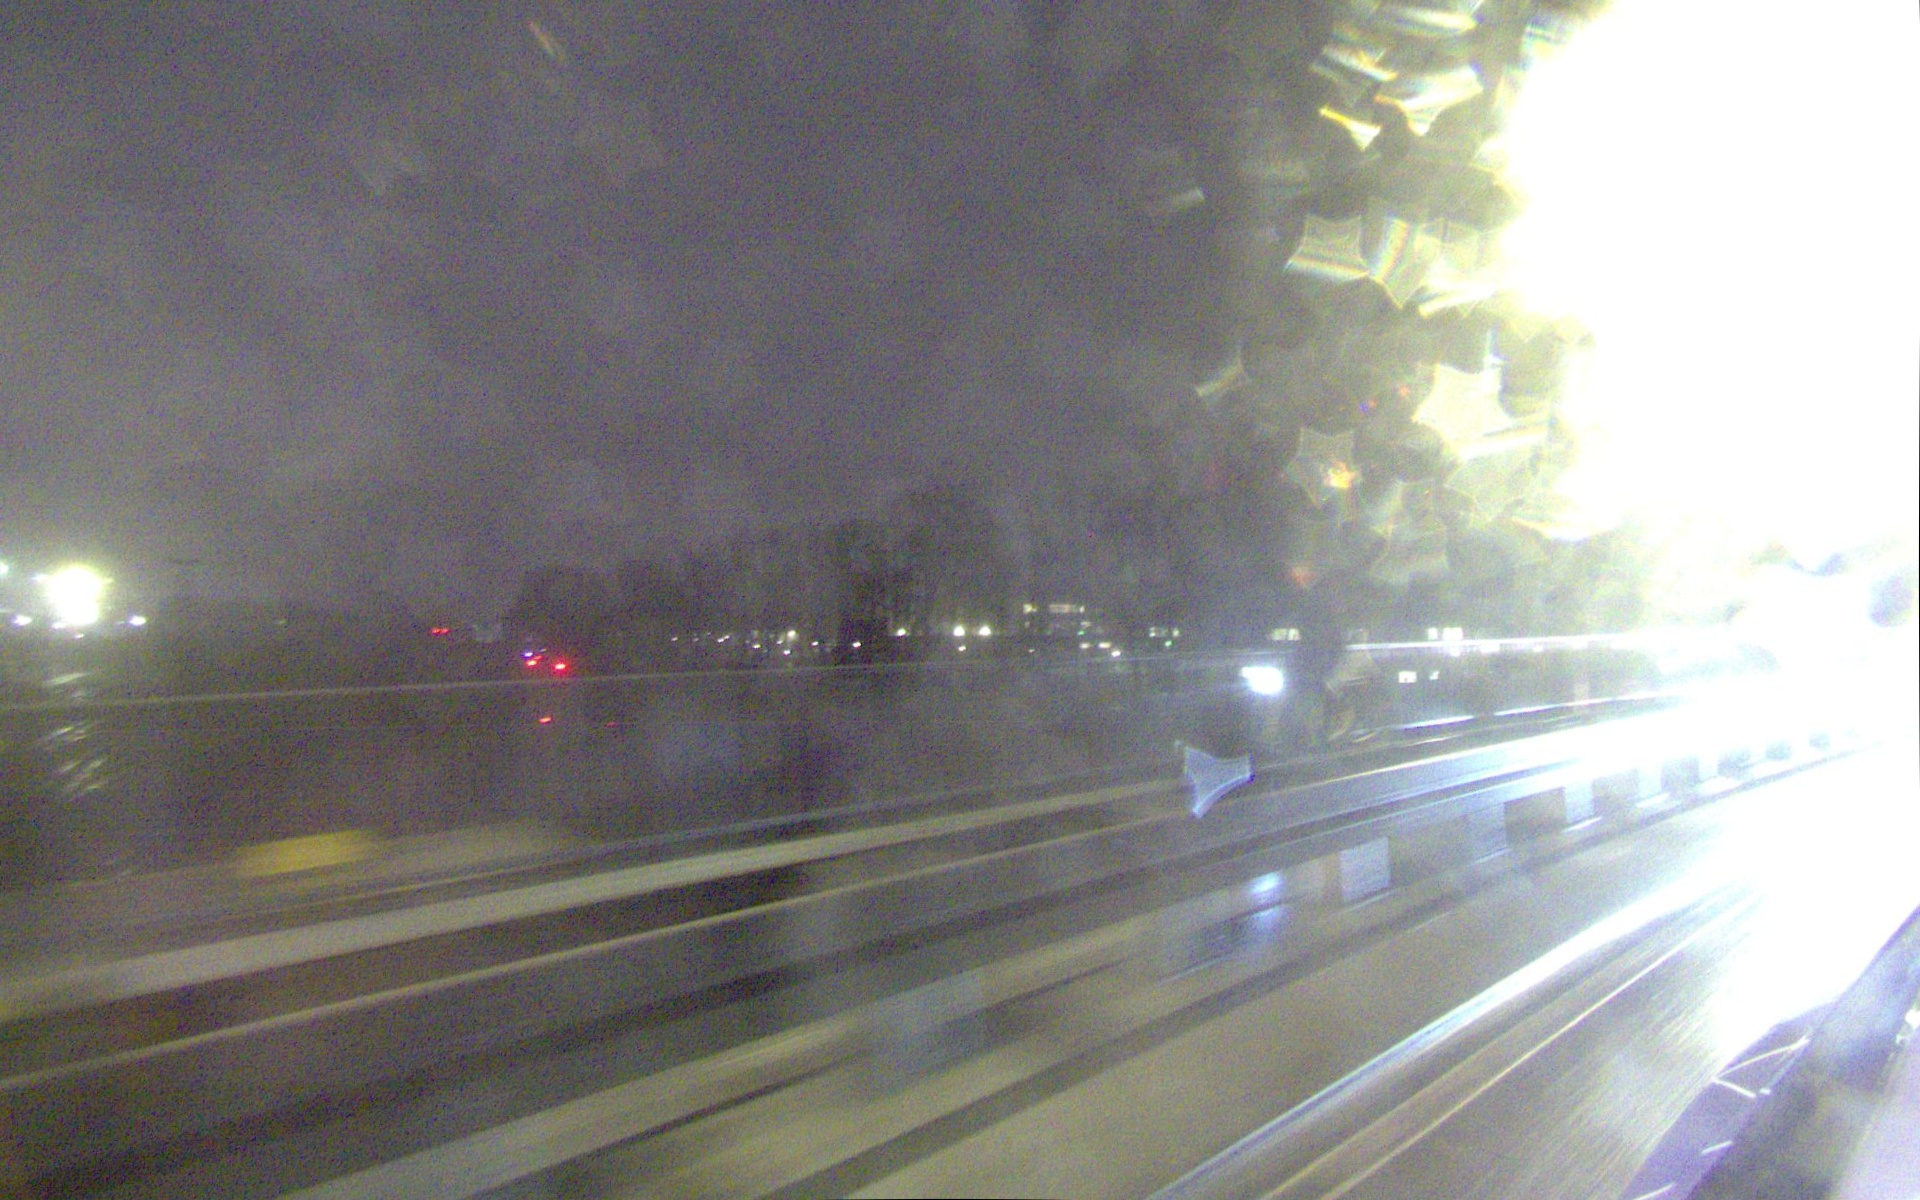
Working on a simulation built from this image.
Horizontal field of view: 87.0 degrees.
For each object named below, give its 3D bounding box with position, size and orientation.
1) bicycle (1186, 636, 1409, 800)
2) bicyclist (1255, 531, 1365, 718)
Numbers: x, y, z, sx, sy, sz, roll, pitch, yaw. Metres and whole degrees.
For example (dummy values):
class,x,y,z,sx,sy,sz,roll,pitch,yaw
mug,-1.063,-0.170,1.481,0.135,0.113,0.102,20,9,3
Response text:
class,x,y,z,sx,sy,sz,roll,pitch,yaw
bicycle,2.627,0.833,7.733,2.131,1.047,0.485,0,0,-37
bicyclist,2.695,0.181,7.781,0.750,1.366,0.454,1,-1,-36
